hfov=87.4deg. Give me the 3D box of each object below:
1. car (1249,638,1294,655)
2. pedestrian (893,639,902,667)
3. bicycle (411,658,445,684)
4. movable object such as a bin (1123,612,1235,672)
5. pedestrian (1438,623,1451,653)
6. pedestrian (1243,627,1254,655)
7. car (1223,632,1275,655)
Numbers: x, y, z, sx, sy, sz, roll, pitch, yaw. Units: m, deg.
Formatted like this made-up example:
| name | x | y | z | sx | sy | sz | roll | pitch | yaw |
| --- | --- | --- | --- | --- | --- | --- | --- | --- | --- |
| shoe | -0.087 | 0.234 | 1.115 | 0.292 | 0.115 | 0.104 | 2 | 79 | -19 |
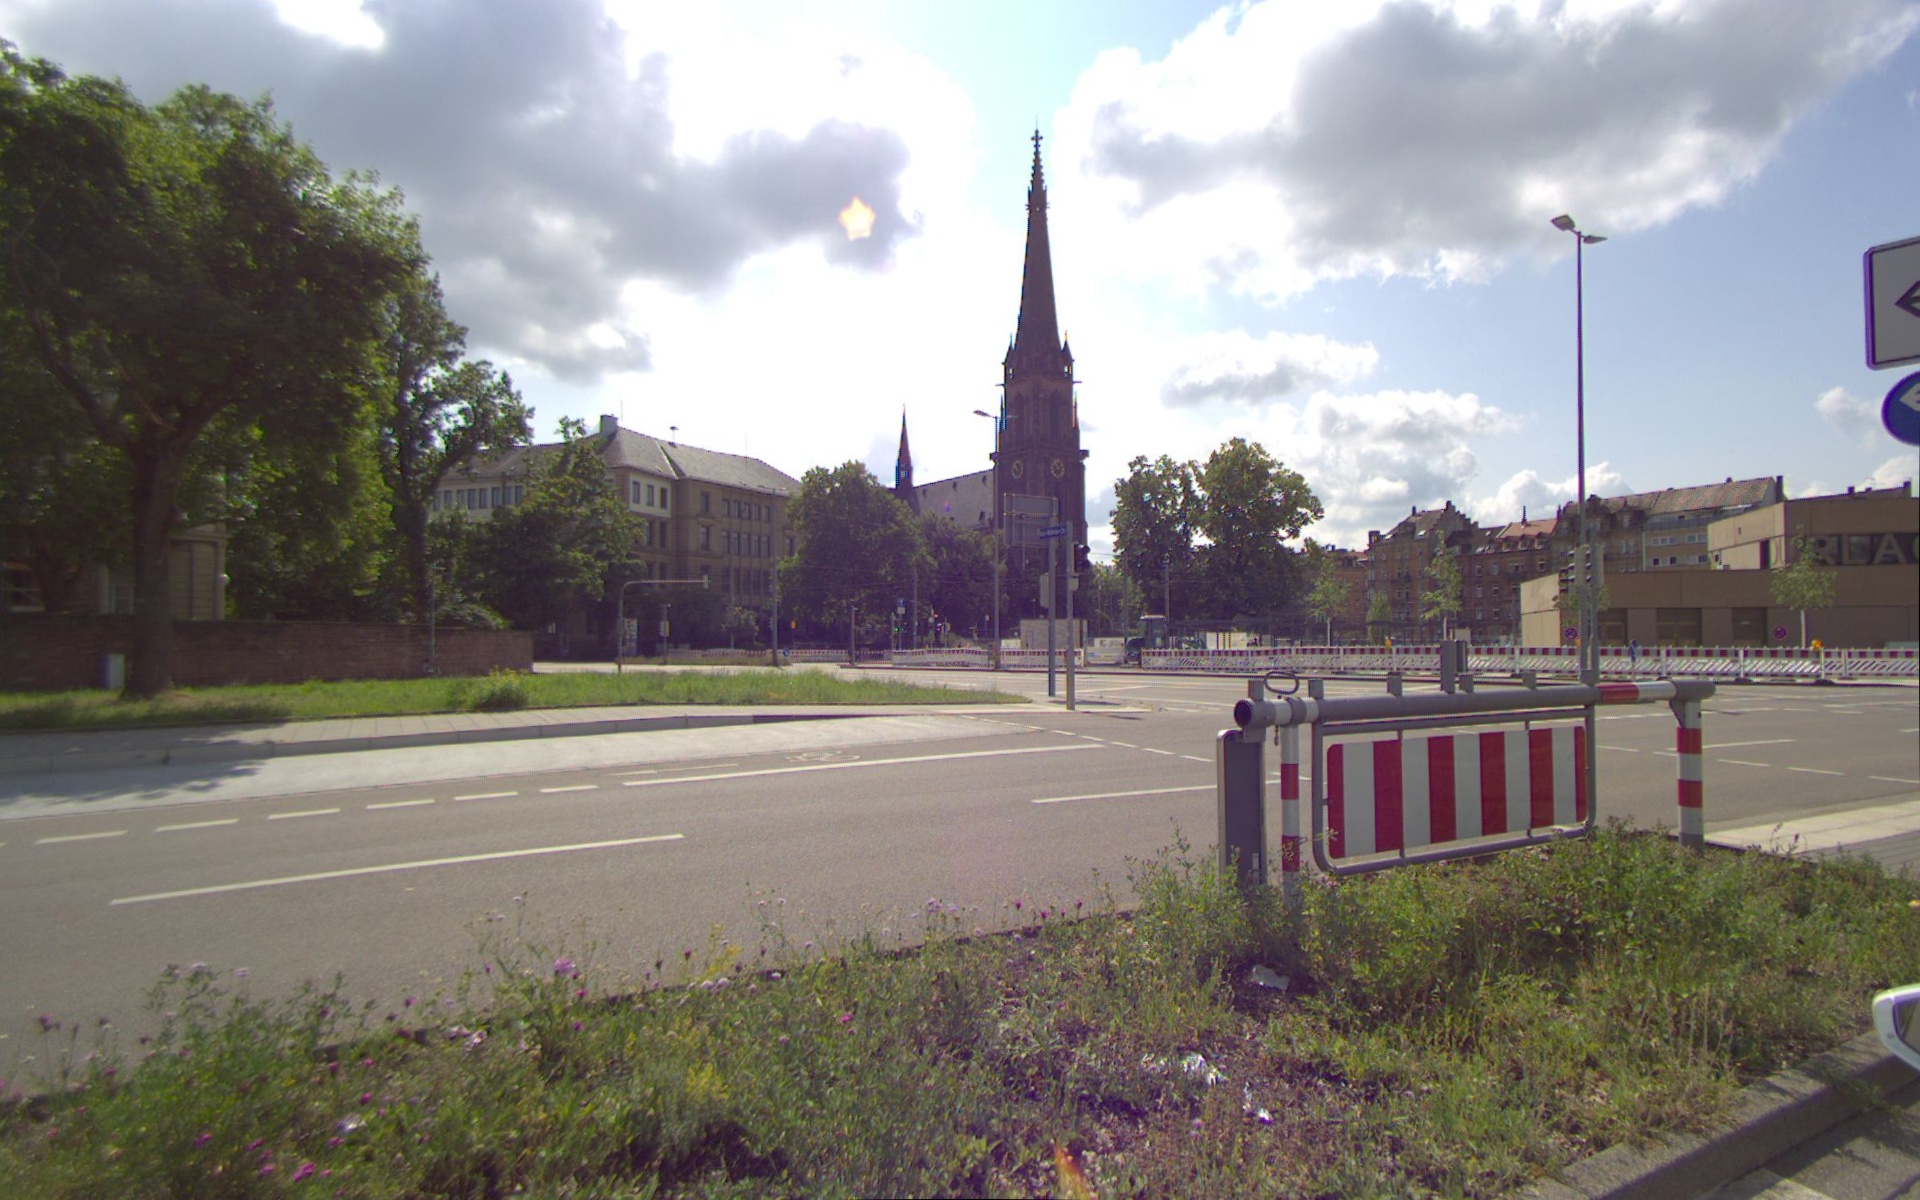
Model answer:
| name | x | y | z | sx | sy | sz | roll | pitch | yaw |
| --- | --- | --- | --- | --- | --- | --- | --- | --- | --- |
| car | 33.377 | 4.995 | 107.620 | 4.292 | 1.817 | 1.781 | -1 | -3 | 29 |
| pedestrian | -4.324 | 3.654 | 69.395 | 0.493 | 1.874 | 0.526 | 1 | -2 | -25 |
| bicycle | -21.900 | 2.908 | 41.396 | 0.386 | 1.005 | 1.524 | 0 | -2 | 9 |
| movable object such as a bin | 11.022 | 2.129 | 50.798 | 5.430 | 2.922 | 2.290 | 0 | -2 | 11 |
| pedestrian | 33.520 | 2.647 | 69.473 | 0.689 | 2.040 | 0.556 | -1 | -2 | 20 |
| pedestrian | 21.333 | 3.036 | 74.204 | 0.748 | 2.040 | 0.750 | 0 | -2 | 18 |
| car | 24.507 | 3.710 | 85.083 | 4.098 | 1.906 | 1.803 | -1 | -2 | 19 |
